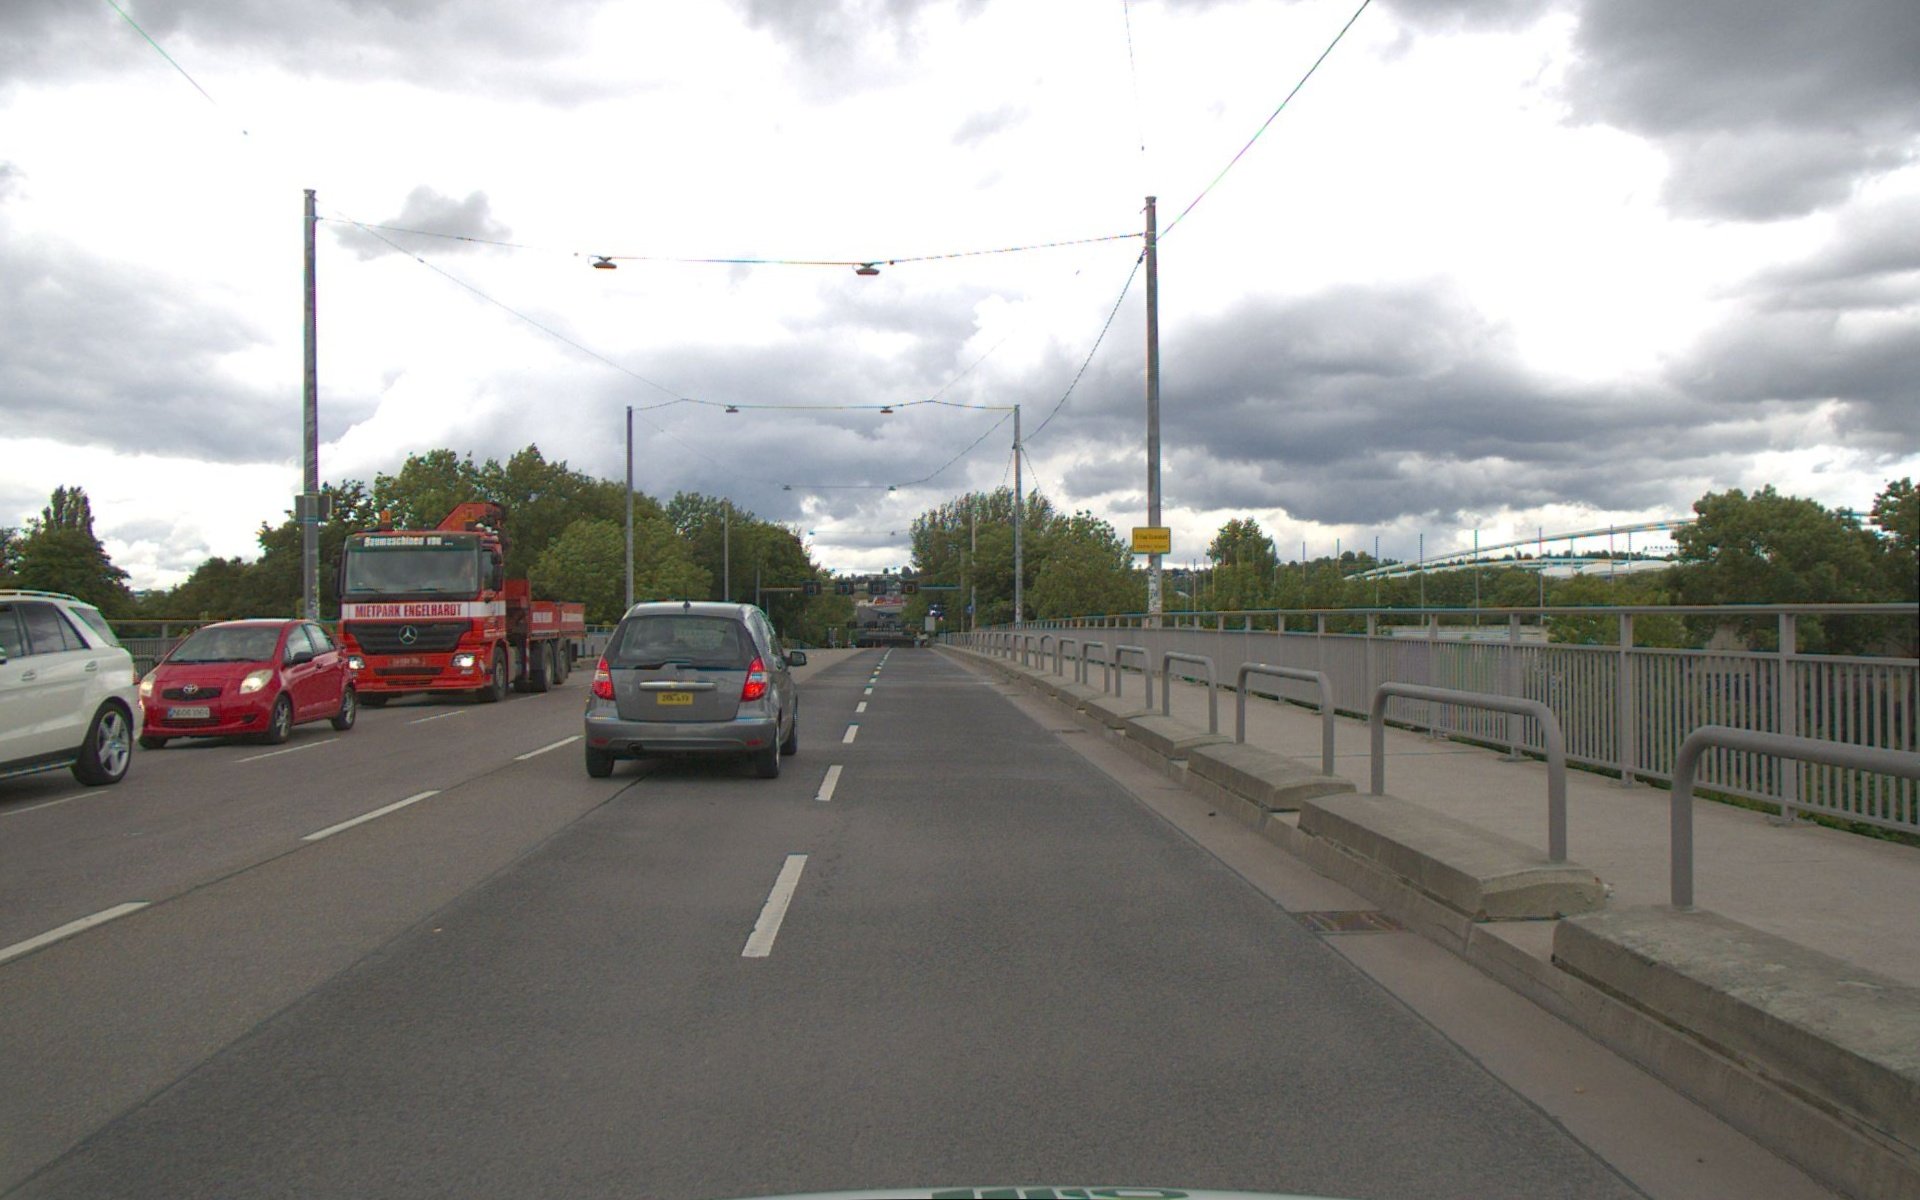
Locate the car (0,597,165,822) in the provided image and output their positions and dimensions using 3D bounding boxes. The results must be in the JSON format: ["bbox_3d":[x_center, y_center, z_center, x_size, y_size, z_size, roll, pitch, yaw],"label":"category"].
[{"bbox_3d":[-8.611,0.919,13.722,1.842,1.792,4.799,-2,-2,-2],"label":"car"}]

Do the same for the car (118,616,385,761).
[{"bbox_3d":[-9.057,1.096,21.517,1.842,1.631,4.013,-2,-2,-2],"label":"car"}]

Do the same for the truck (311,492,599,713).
[{"bbox_3d":[-9.618,0.175,32.906,2.945,3.628,9.976,-2,-2,-2],"label":"truck"}]

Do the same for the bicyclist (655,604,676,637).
[{"bbox_3d":[-16.461,1.145,92.395,1.111,1.795,0.904,0,-2,-7],"label":"bicyclist"}]

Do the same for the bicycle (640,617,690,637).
[{"bbox_3d":[-16.468,1.487,92.377,2.738,1.069,0.919,-1,-2,-7],"label":"bicycle"}]

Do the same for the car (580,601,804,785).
[{"bbox_3d":[-2.485,0.848,16.170,1.710,1.578,3.869,0,-2,-2],"label":"car"}]
